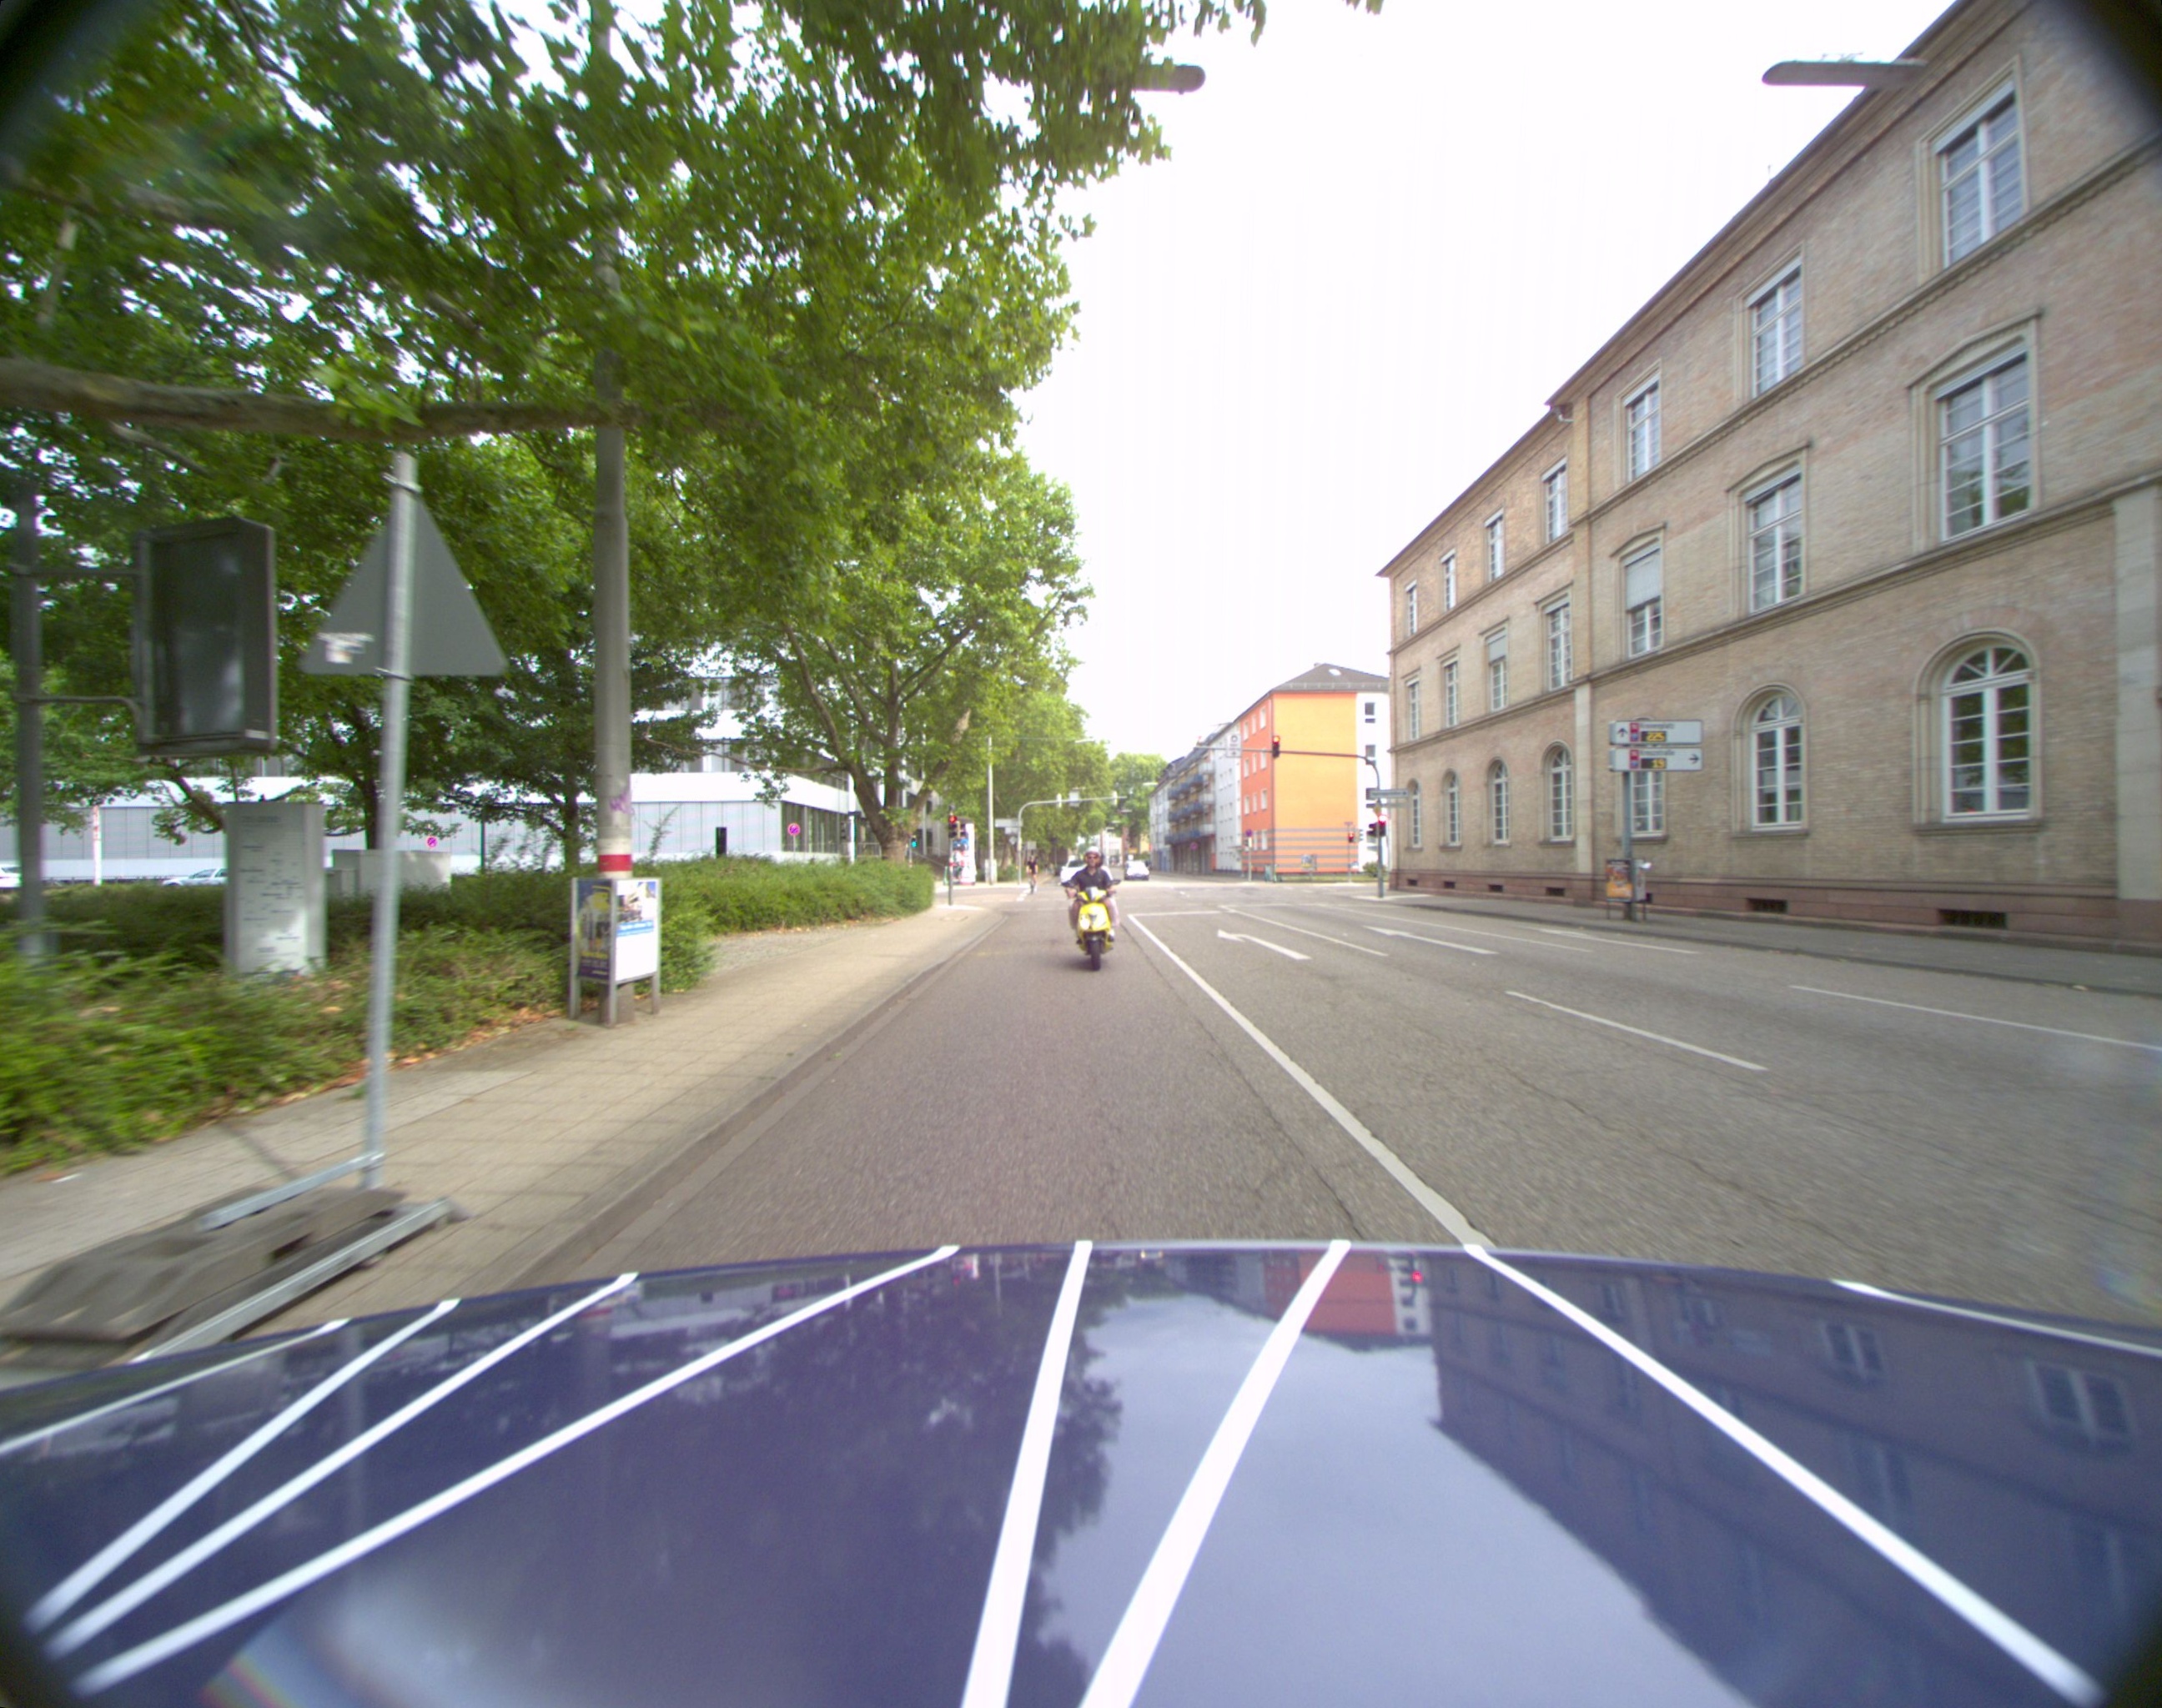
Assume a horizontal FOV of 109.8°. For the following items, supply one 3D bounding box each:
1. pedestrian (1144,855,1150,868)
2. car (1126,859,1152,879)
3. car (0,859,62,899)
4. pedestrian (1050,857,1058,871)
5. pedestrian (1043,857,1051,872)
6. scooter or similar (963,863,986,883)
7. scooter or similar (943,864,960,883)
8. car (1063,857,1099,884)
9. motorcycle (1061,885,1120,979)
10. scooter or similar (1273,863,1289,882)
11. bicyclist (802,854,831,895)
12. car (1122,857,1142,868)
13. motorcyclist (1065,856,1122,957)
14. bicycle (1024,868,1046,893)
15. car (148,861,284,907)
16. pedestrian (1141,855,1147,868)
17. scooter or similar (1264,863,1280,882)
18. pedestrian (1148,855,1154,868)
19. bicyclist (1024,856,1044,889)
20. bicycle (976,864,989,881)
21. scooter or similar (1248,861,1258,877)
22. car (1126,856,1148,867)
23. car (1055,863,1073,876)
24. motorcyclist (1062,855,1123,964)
[{"bbox_3d":[10.432,1.192,120.483,0.842,2.002,0.875,-2,0,4],"label":"pedestrian"},{"bbox_3d":[4.495,1.151,59.147,1.673,1.430,3.820,-1,0,-1],"label":"car"},{"bbox_3d":[-52.007,1.251,36.173,3.879,1.850,1.952,-2,0,-9],"label":"car"},{"bbox_3d":[-3.832,1.441,108.871,1.003,2.002,0.997,-2,0,2],"label":"pedestrian"},{"bbox_3d":[-4.848,1.507,108.906,1.003,2.002,0.997,-2,0,2],"label":"pedestrian"},{"bbox_3d":[-6.525,1.180,46.621,1.309,1.202,0.344,1,0,4],"label":"scooter or similar"},{"bbox_3d":[-7.932,1.196,46.561,0.473,1.130,1.307,1,0,-34],"label":"scooter or similar"},{"bbox_3d":[0.066,1.033,48.947,1.998,1.543,4.523,-2,0,4],"label":"car"},{"bbox_3d":[0.157,1.097,11.314,0.781,1.171,1.992,-1,1,2],"label":"motorcycle"},{"bbox_3d":[12.488,1.135,47.564,0.330,1.151,1.352,-2,0,-13],"label":"scooter or similar"},{"bbox_3d":[-11.037,0.834,31.734,0.831,1.668,0.916,-1,1,4],"label":"bicyclist"},{"bbox_3d":[10.452,1.728,156.288,3.997,2.002,2.000,-2,0,-1],"label":"car"},{"bbox_3d":[0.188,0.743,11.081,0.781,1.419,0.689,-1,1,2],"label":"motorcyclist"},{"bbox_3d":[-2.032,1.169,33.808,0.771,1.009,2.408,-3,0,0],"label":"bicycle"},{"bbox_3d":[-42.351,1.437,37.313,4.000,2.002,1.999,-2,0,-9],"label":"car"},{"bbox_3d":[10.022,1.208,120.518,0.842,2.002,0.875,-2,0,4],"label":"pedestrian"},{"bbox_3d":[11.909,1.149,47.365,0.330,1.172,1.341,-2,0,-13],"label":"scooter or similar"},{"bbox_3d":[11.168,1.163,120.655,0.842,2.002,0.875,-2,0,4],"label":"pedestrian"},{"bbox_3d":[-2.083,0.822,33.748,0.784,1.438,0.914,-2,0,0],"label":"bicyclist"},{"bbox_3d":[-7.150,1.332,55.404,0.700,1.162,1.725,-2,0,0],"label":"bicycle"},{"bbox_3d":[12.222,1.070,54.123,0.369,1.117,1.354,-2,0,0],"label":"scooter or similar"},{"bbox_3d":[10.770,1.468,147.015,3.997,2.002,2.000,-2,0,-1],"label":"car"},{"bbox_3d":[-2.126,1.935,96.694,1.998,1.532,4.272,-2,0,2],"label":"car"},{"bbox_3d":[0.163,0.734,10.391,0.781,1.419,0.764,-1,1,2],"label":"motorcyclist"}]
